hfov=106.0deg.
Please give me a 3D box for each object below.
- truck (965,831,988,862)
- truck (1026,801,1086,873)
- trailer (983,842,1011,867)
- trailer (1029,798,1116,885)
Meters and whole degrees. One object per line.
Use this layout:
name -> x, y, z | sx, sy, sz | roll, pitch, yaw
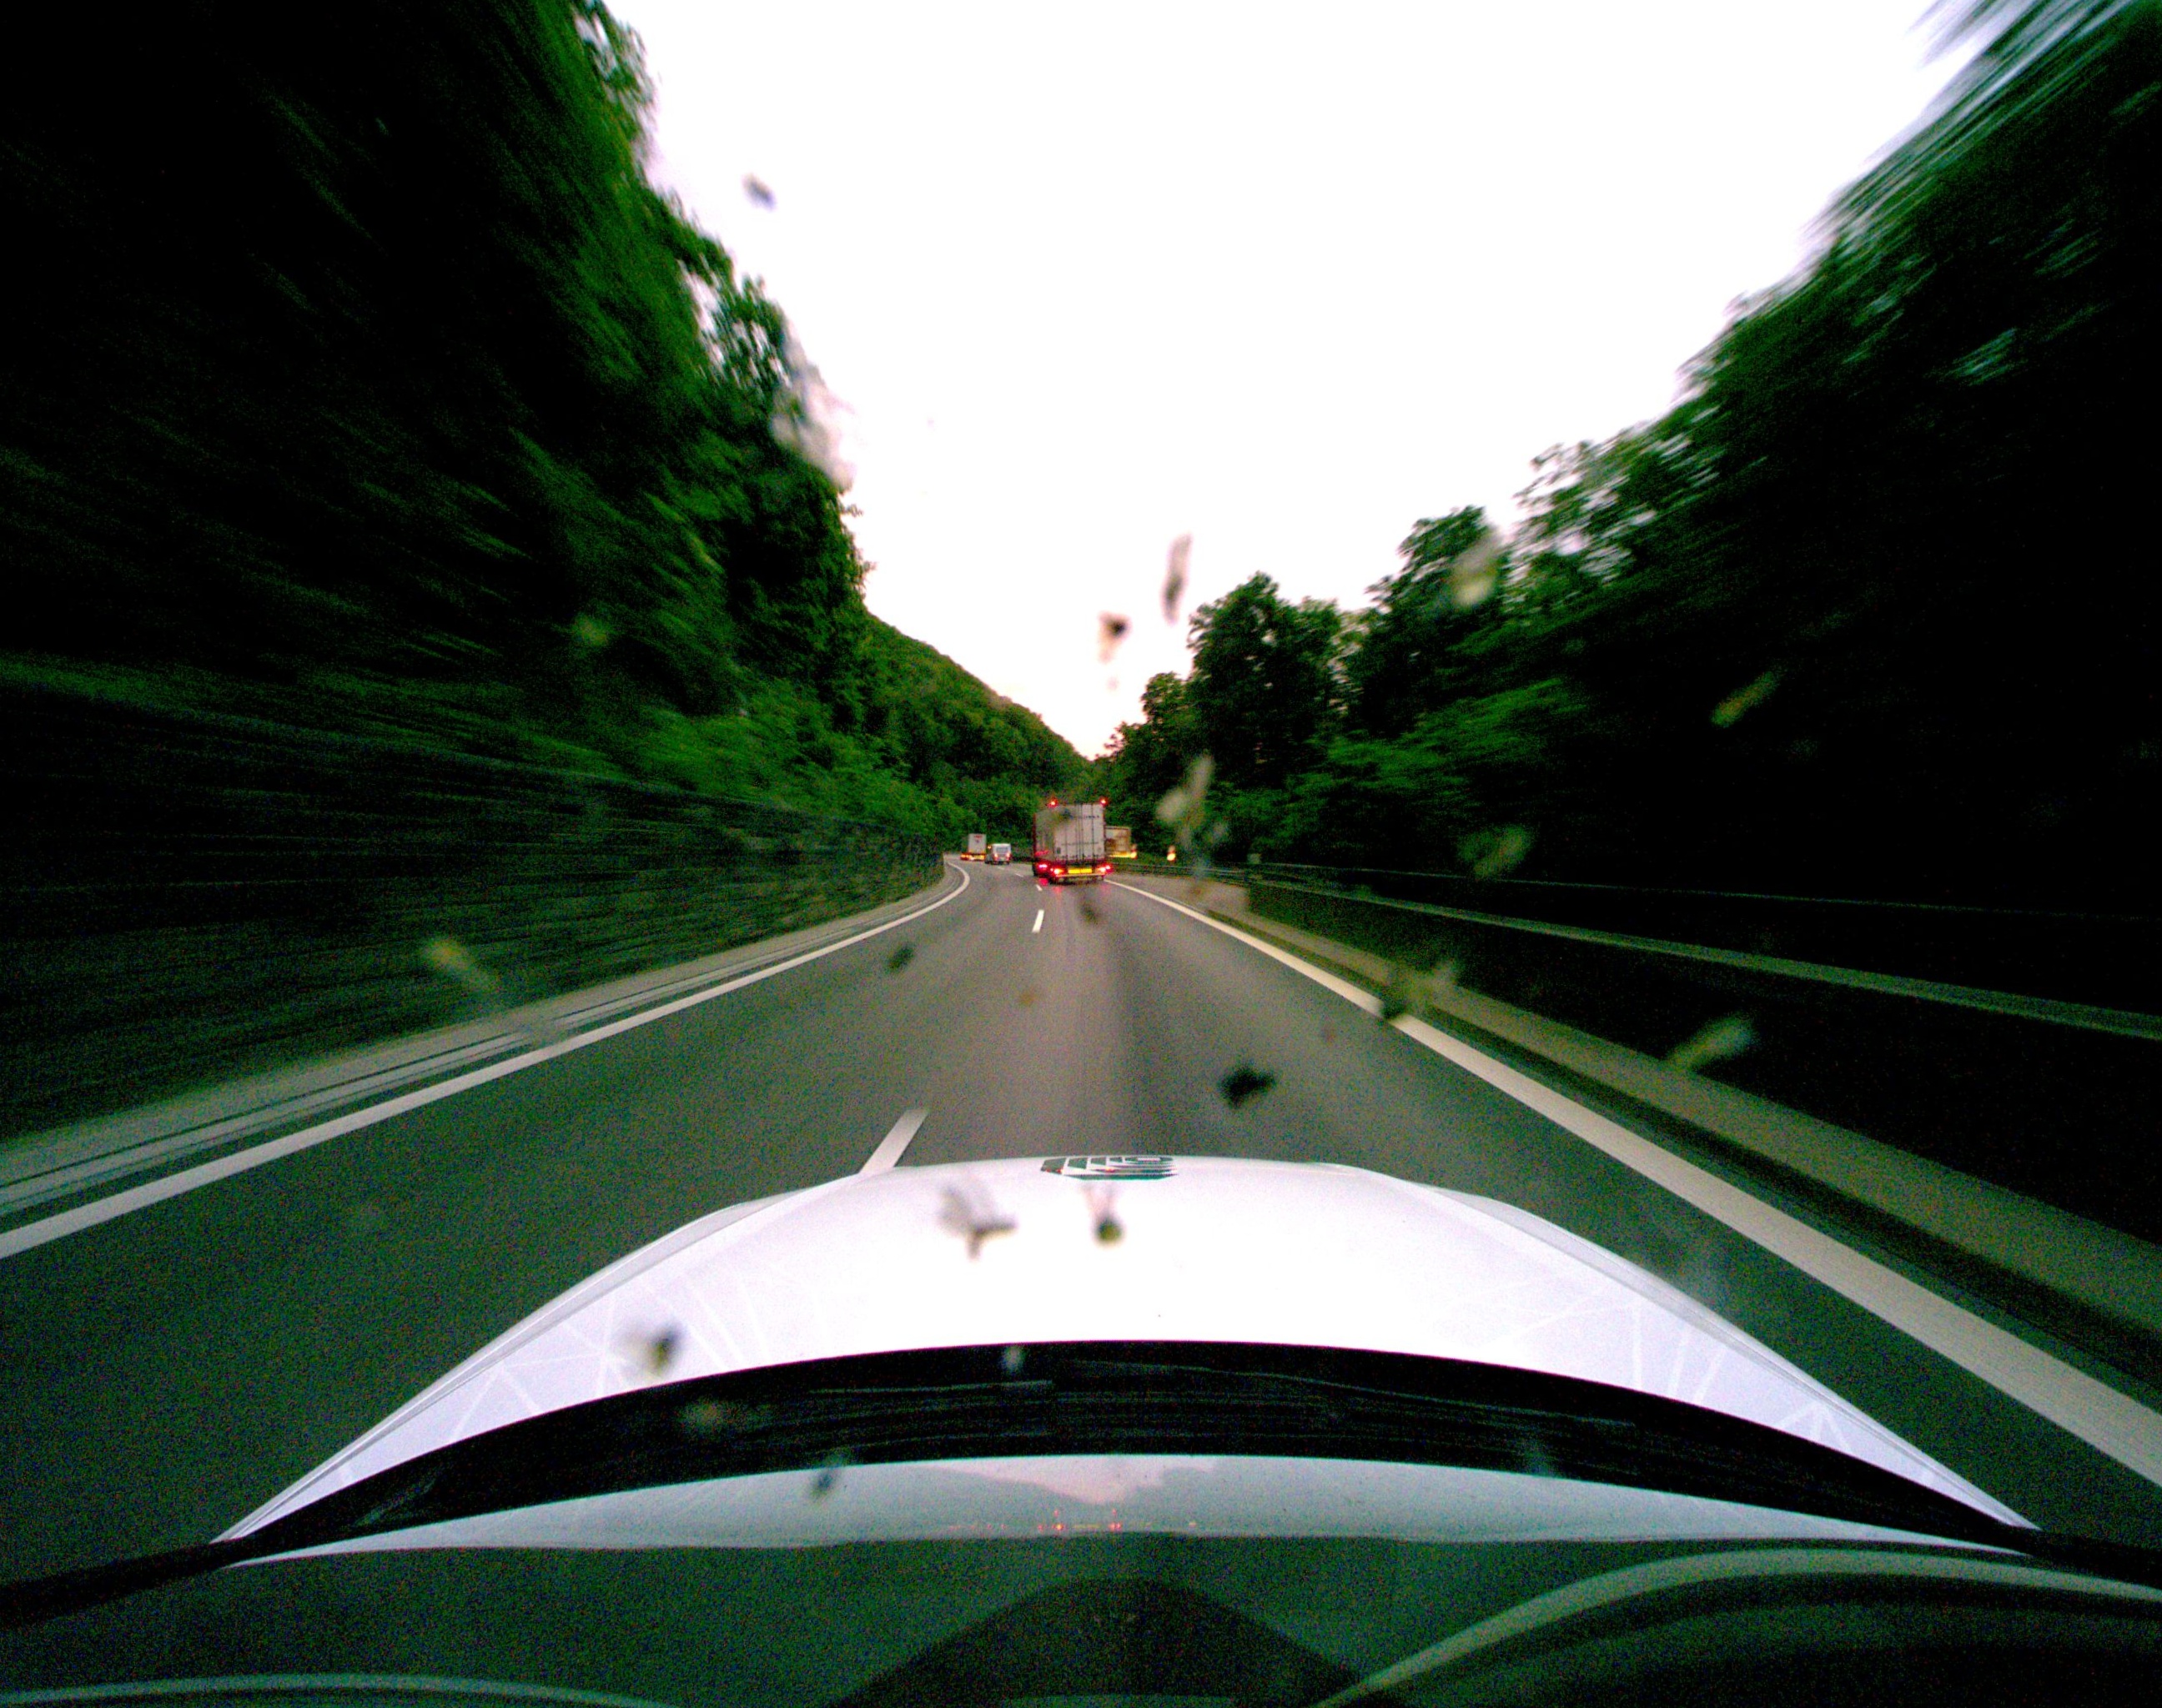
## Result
truck -> -15.718, -0.995, 123.365 | 3.291, 4.173, 16.462 | 1, -1, -7
truck -> -1.685, -1.171, 51.986 | 3.067, 4.143, 6.432 | -3, 3, -7
trailer -> -9.296, 0.027, 89.660 | 2.058, 2.374, 5.909 | 5, 1, -15
trailer -> -0.838, -0.880, 45.203 | 3.094, 3.969, 14.186 | -3, 3, -7
